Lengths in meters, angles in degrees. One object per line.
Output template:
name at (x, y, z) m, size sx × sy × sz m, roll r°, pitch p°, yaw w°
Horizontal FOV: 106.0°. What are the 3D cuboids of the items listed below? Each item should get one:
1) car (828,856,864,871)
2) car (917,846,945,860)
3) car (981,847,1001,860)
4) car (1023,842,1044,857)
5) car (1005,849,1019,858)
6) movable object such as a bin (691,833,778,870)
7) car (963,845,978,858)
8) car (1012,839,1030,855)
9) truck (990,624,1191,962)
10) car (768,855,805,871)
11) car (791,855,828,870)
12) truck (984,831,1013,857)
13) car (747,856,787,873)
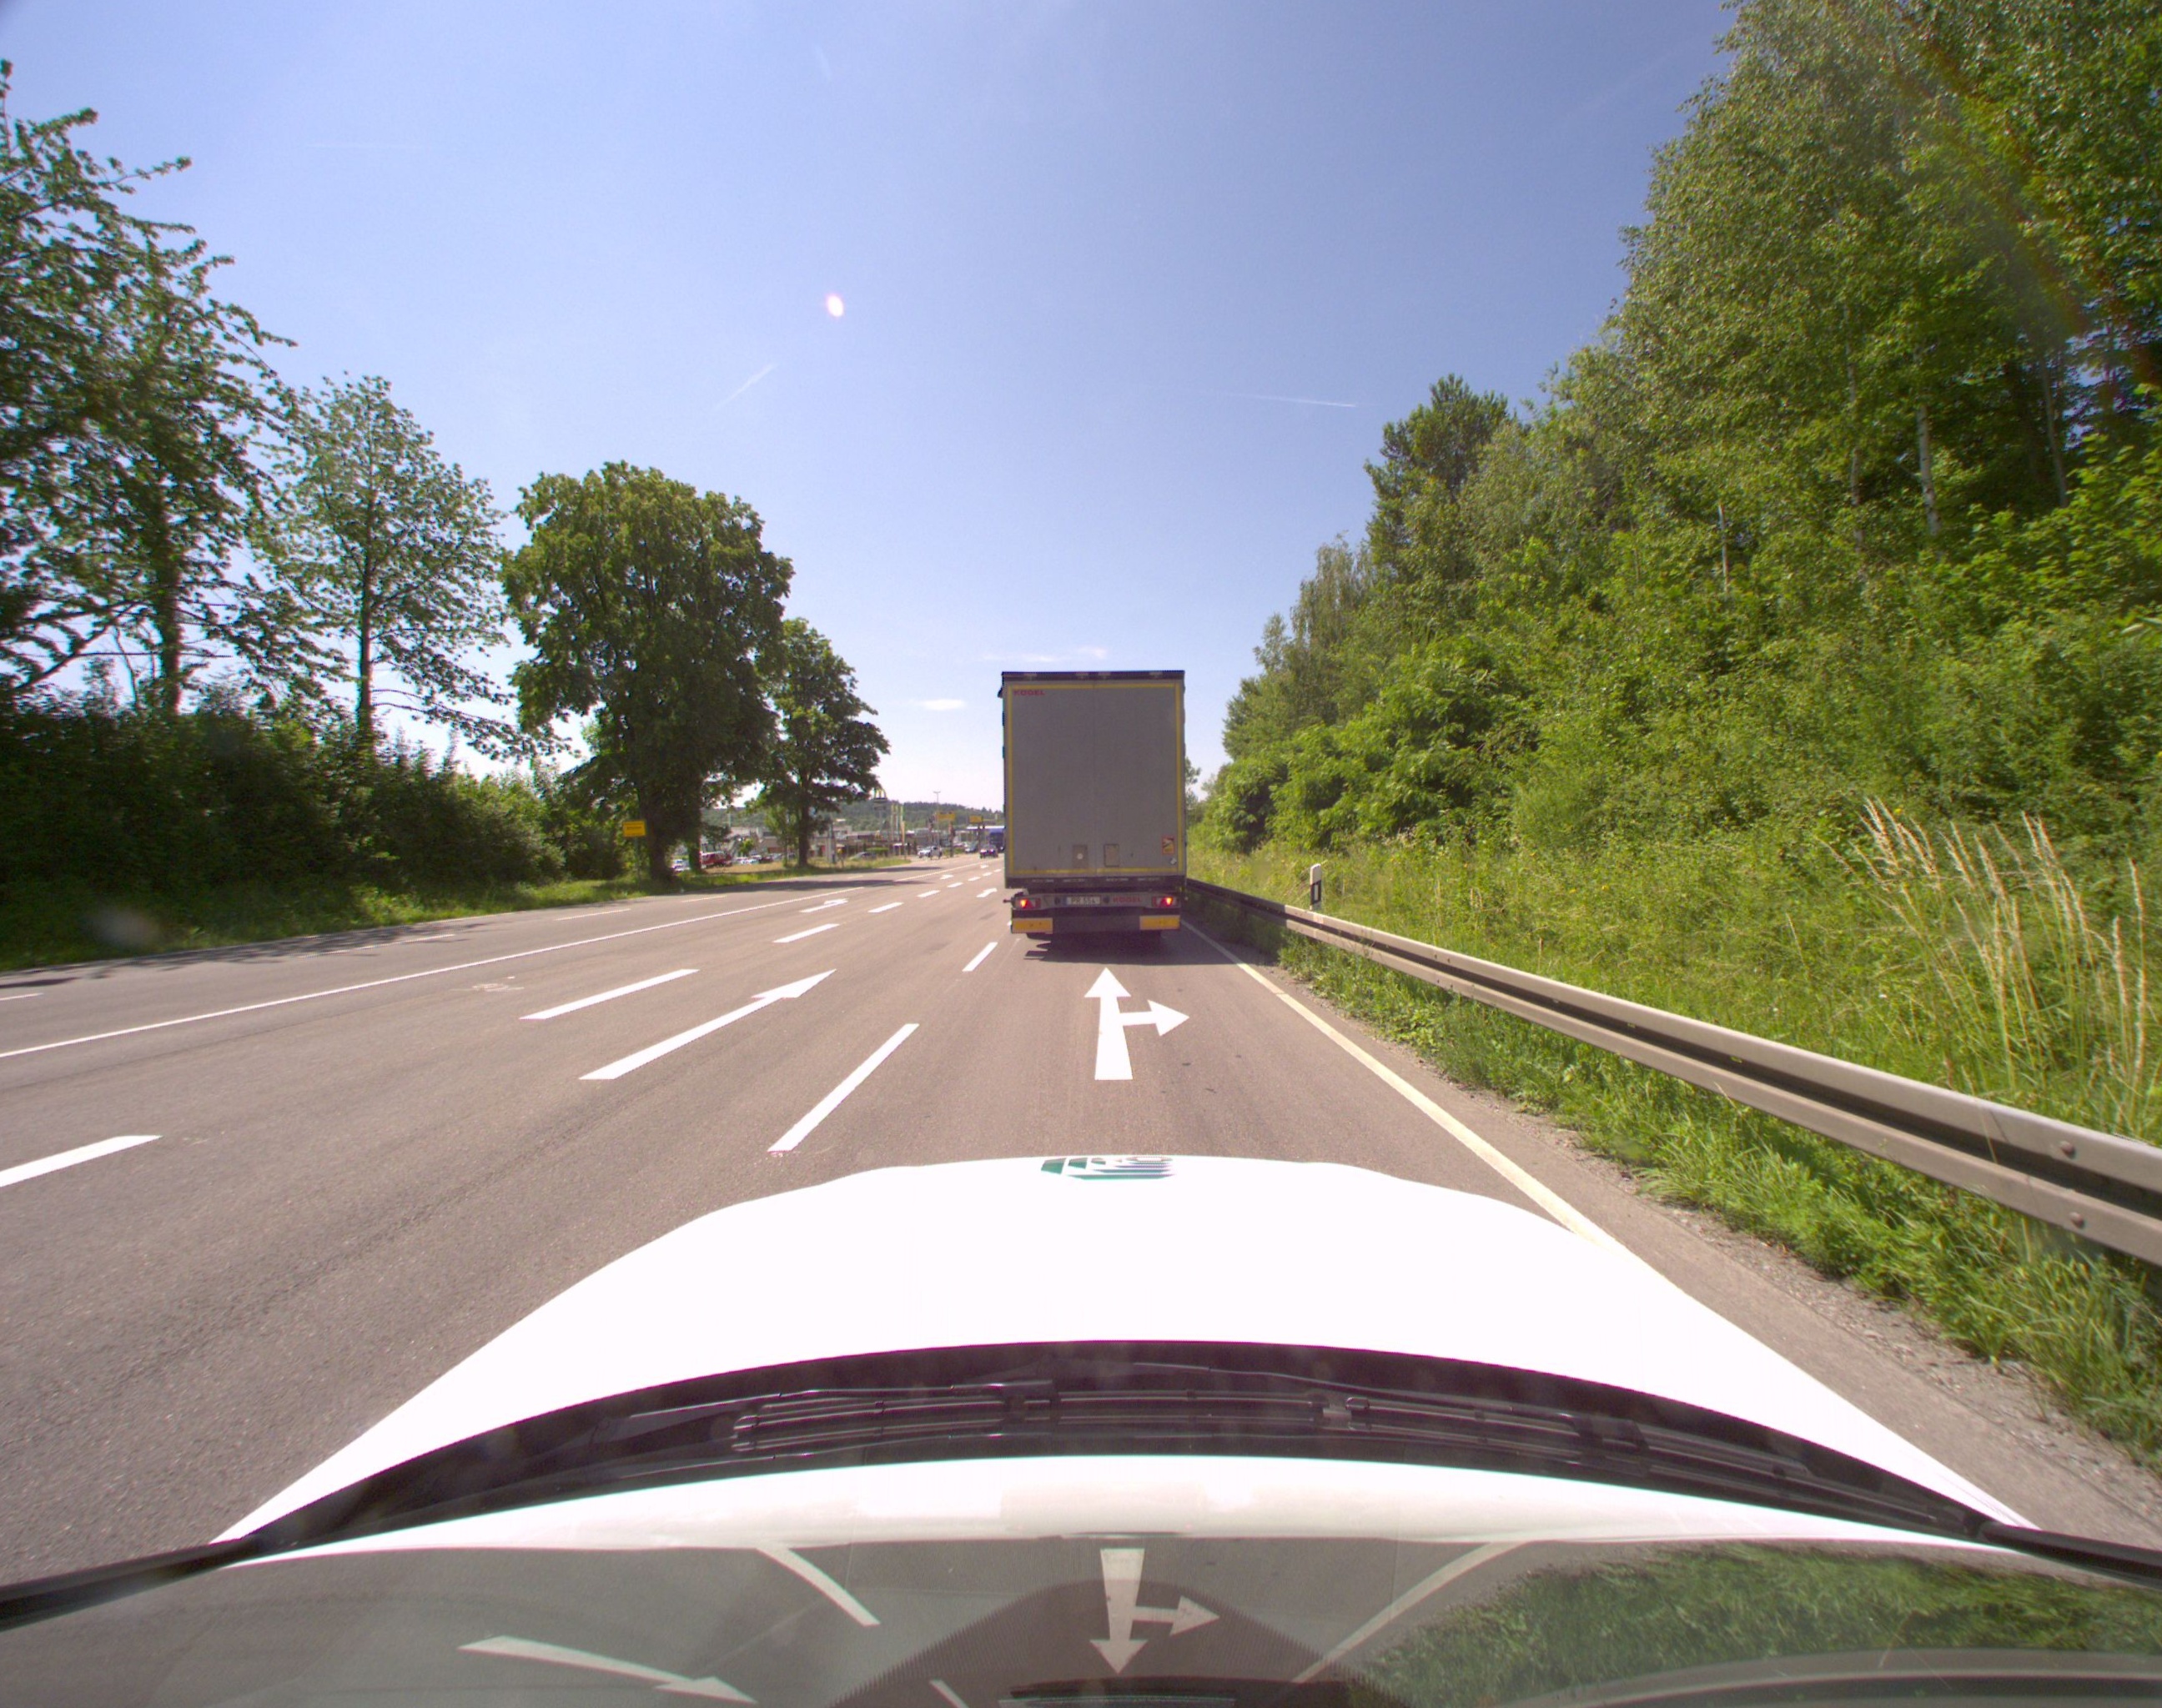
car at (-25.851, 1.007, 89.603) m, size 3.948 × 1.618 × 1.852 m, roll 0°, pitch 0°, yaw 37°
car at (-23.051, -0.179, 125.145) m, size 1.974 × 2.013 × 4.026 m, roll -1°, pitch 1°, yaw 36°
car at (-10.566, -0.067, 95.993) m, size 1.897 × 1.508 × 3.764 m, roll -1°, pitch 0°, yaw 0°
car at (-4.298, -0.379, 73.714) m, size 1.522 × 1.341 × 3.333 m, roll 0°, pitch 0°, yaw 3°
car at (-10.659, -0.004, 125.778) m, size 1.761 × 1.386 × 3.999 m, roll 0°, pitch 0°, yaw -1°
movable object such as a bin at (-32.427, -0.284, 76.474) m, size 3.013 × 3.298 × 6.835 m, roll -1°, pitch 1°, yaw 40°
car at (-18.827, -0.432, 138.707) m, size 1.987 × 2.013 × 4.000 m, roll -1°, pitch 0°, yaw 1°
car at (-7.577, -0.883, 103.160) m, size 1.987 × 2.013 × 4.000 m, roll 0°, pitch 0°, yaw 0°
truck at (0.311, -0.806, 19.472) m, size 2.746 × 4.639 × 16.658 m, roll 0°, pitch 0°, yaw 1°
car at (-31.075, 0.951, 85.936) m, size 3.948 × 1.618 × 1.852 m, roll 0°, pitch 0°, yaw 37°
car at (-29.440, 0.894, 88.196) m, size 3.948 × 1.618 × 1.852 m, roll 0°, pitch 0°, yaw 37°
truck at (-13.781, -1.673, 137.654) m, size 2.958 × 4.176 × 16.573 m, roll -1°, pitch 0°, yaw 0°
car at (-32.488, 1.071, 84.185) m, size 3.948 × 1.651 × 2.013 m, roll 0°, pitch 0°, yaw 37°
